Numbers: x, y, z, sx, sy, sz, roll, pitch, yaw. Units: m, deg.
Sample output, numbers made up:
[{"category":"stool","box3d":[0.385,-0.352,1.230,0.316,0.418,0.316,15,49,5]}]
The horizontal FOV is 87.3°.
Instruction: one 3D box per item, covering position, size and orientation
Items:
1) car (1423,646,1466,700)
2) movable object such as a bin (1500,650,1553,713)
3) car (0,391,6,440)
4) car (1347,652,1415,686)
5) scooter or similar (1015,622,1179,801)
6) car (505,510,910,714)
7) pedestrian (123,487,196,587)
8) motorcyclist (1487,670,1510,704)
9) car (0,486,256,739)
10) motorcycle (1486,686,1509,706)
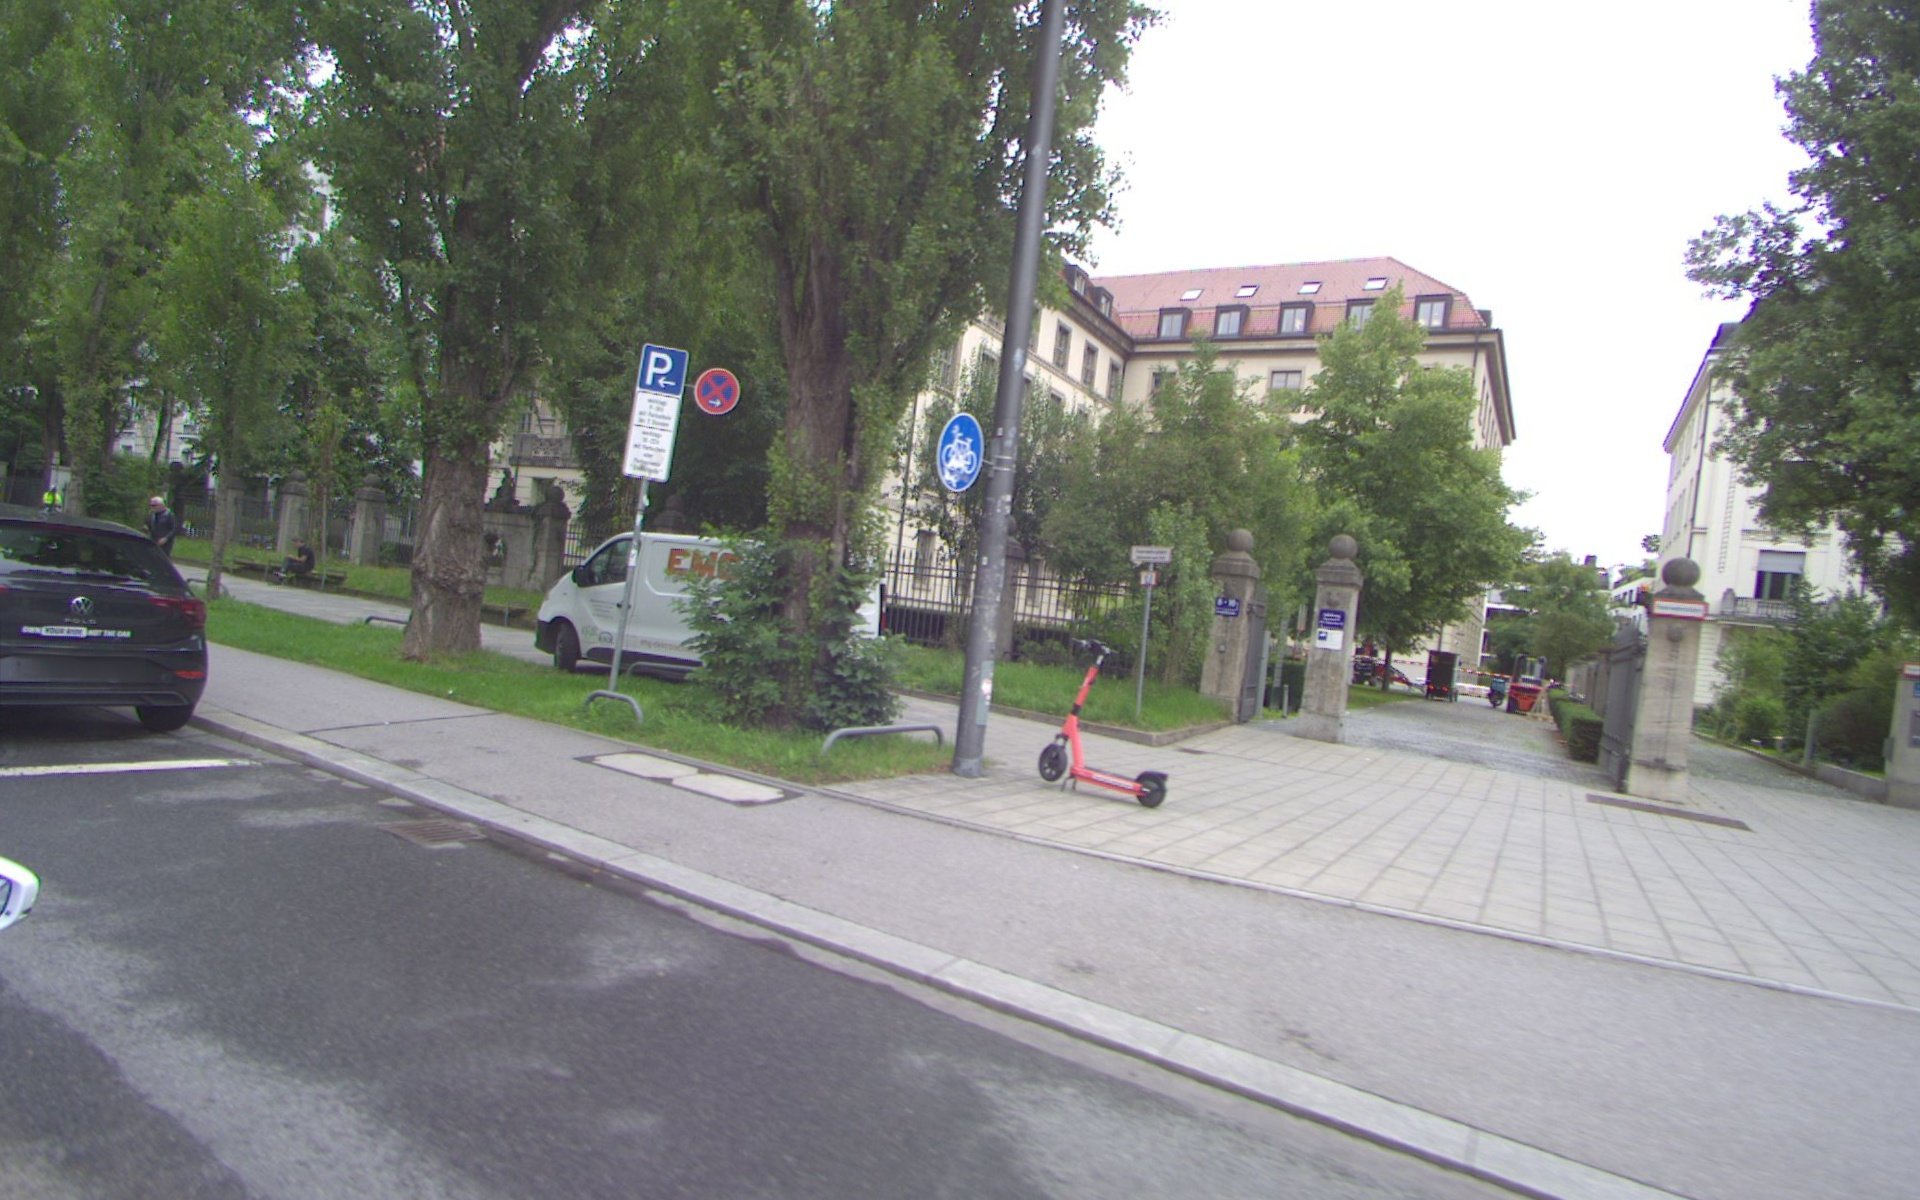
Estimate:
[{"category":"car","box3d":[20.128,3.031,41.751,1.141,2.036,3.497,7,0,30]},{"category":"movable object such as a bin","box3d":[22.239,3.187,39.424,1.410,2.167,3.671,7,0,33]},{"category":"car","box3d":[-13.033,-1.266,10.952,6.178,2.508,2.078,7,-1,31]},{"category":"car","box3d":[21.278,3.501,50.837,2.932,1.330,1.158,7,0,-11]},{"category":"scooter or similar","box3d":[1.108,0.884,8.258,1.166,1.281,0.337,7,1,32]},{"category":"car","box3d":[-3.344,0.085,12.933,4.999,1.970,1.996,6,0,32]},{"category":"pedestrian","box3d":[-15.999,-1.245,20.125,0.770,1.862,0.656,6,1,7]},{"category":"motorcyclist","box3d":[21.998,3.546,41.098,0.613,1.275,0.930,7,0,34]},{"category":"car","box3d":[-7.077,-0.070,7.195,3.933,1.466,1.759,7,-2,31]},{"category":"motorcycle","box3d":[21.973,3.926,41.136,0.613,0.744,1.563,7,0,33]}]
